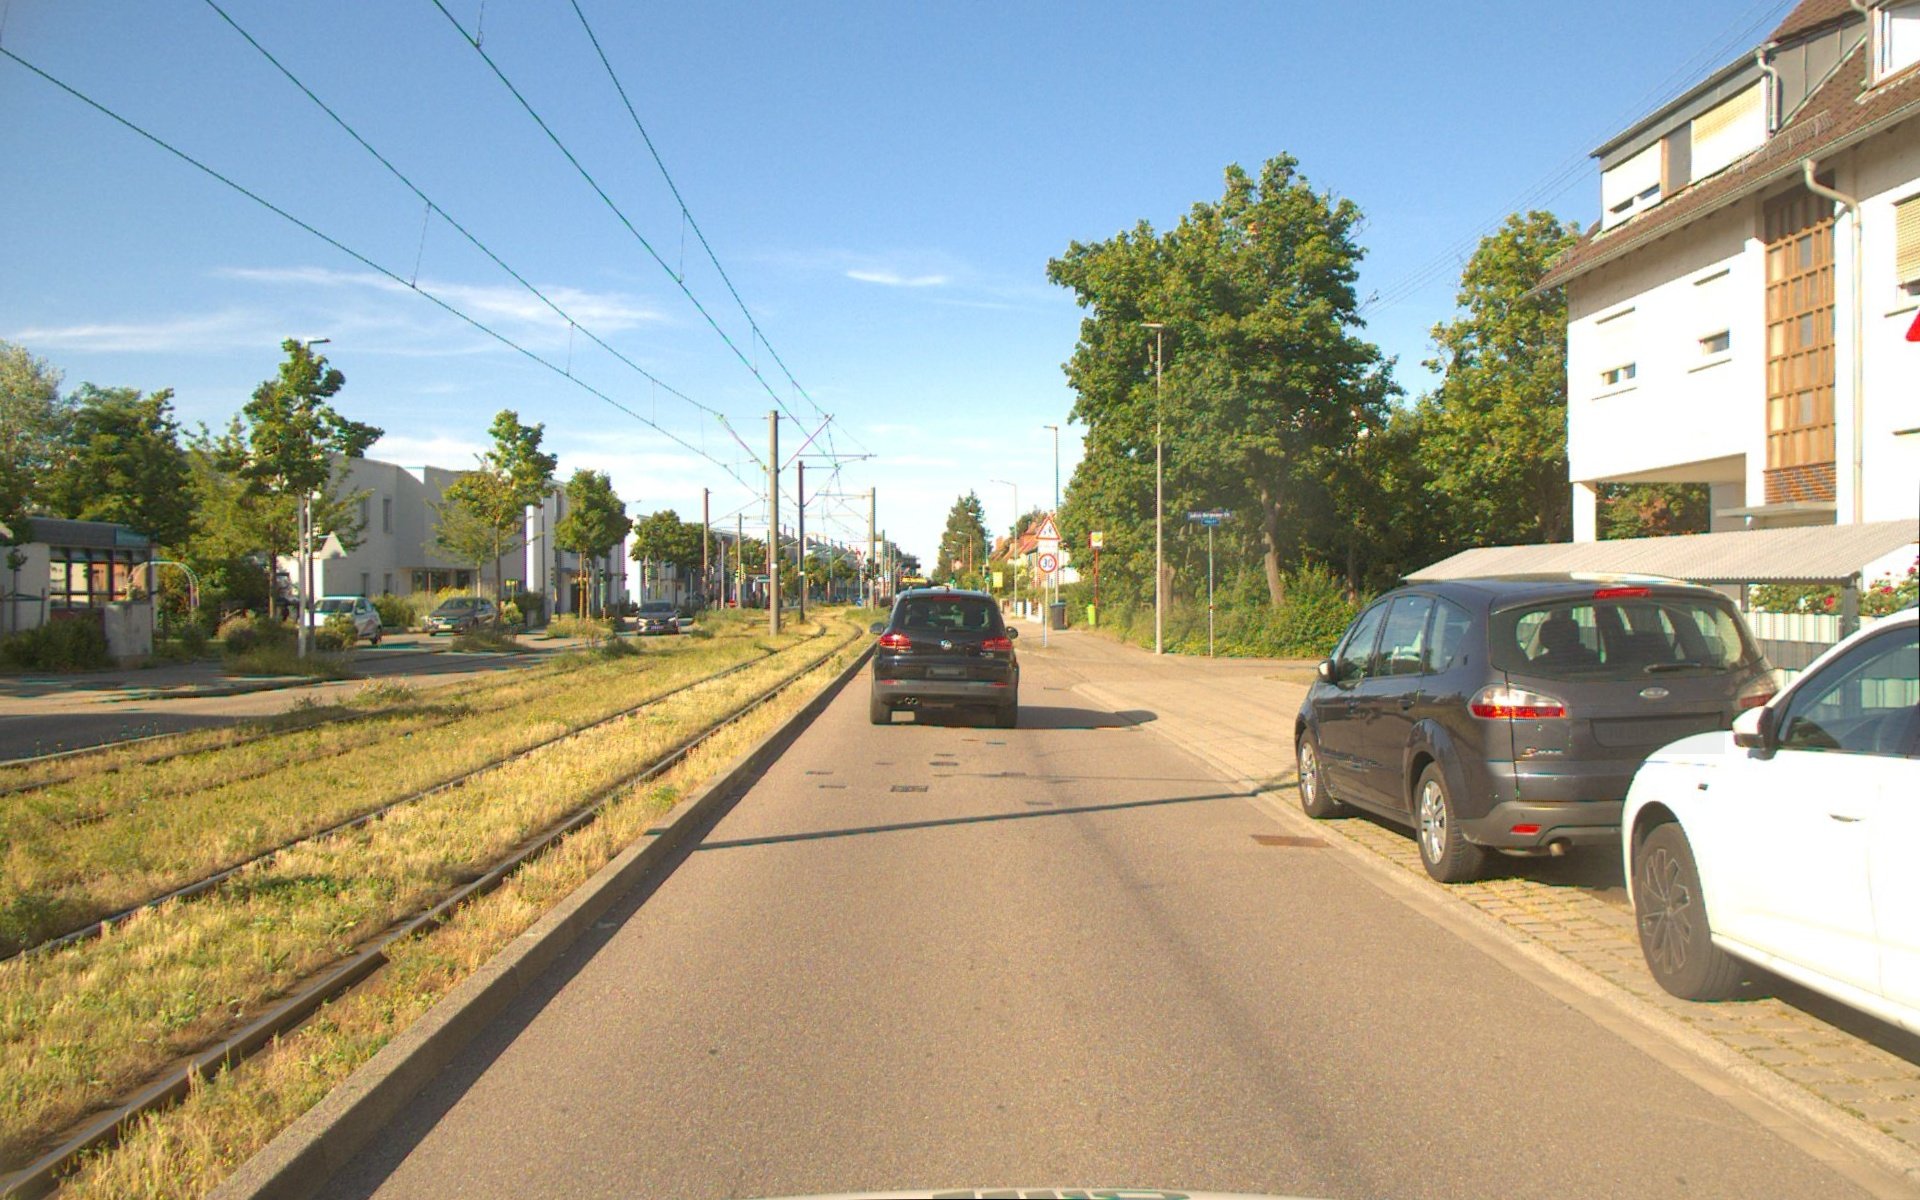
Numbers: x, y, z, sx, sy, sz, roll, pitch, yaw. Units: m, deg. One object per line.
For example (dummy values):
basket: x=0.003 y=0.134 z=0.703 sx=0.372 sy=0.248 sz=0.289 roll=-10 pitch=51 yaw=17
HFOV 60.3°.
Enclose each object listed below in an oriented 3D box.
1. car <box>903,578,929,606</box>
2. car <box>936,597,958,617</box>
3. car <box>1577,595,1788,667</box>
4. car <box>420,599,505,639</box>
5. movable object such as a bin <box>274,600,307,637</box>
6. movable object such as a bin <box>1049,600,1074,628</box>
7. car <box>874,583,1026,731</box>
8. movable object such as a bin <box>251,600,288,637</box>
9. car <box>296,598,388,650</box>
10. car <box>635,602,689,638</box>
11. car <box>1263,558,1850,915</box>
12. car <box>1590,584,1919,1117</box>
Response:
car: x=-4.216 y=-0.746 z=157.769 sx=2.345 sy=2.609 sz=5.529 roll=0 pitch=0 yaw=0
car: x=-1.130 y=0.605 z=142.169 sx=1.740 sy=1.699 sz=3.997 roll=0 pitch=0 yaw=-3
car: x=15.998 y=0.671 z=36.738 sx=3.920 sy=1.523 sz=1.744 roll=0 pitch=0 yaw=0
car: x=-19.156 y=0.712 z=63.877 sx=1.772 sy=1.486 sz=4.319 roll=1 pitch=0 yaw=3
movable object such as a bin: x=-26.442 y=0.721 z=65.342 sx=0.650 sy=1.459 sz=1.255 roll=1 pitch=0 yaw=6
movable object such as a bin: x=4.169 y=0.587 z=68.023 sx=0.955 sy=1.130 sz=1.171 roll=-1 pitch=0 yaw=2
car: x=-0.223 y=0.665 z=21.318 sx=1.740 sy=1.699 sz=3.997 roll=1 pitch=0 yaw=-3
movable object such as a bin: x=-26.602 y=0.707 z=63.740 sx=0.650 sy=1.407 sz=1.422 roll=1 pitch=0 yaw=6
car: x=-18.863 y=0.711 z=50.596 sx=1.513 sy=1.517 sz=3.773 roll=1 pitch=0 yaw=-3
car: x=-12.908 y=0.841 z=71.846 sx=1.654 sy=1.413 sz=4.386 roll=-2 pitch=0 yaw=-2
car: x=3.368 y=0.644 z=10.505 sx=1.755 sy=1.657 sz=4.859 roll=-3 pitch=0 yaw=-2
car: x=3.542 y=0.702 z=5.100 sx=1.622 sy=1.518 sz=4.160 roll=-1 pitch=0 yaw=0
